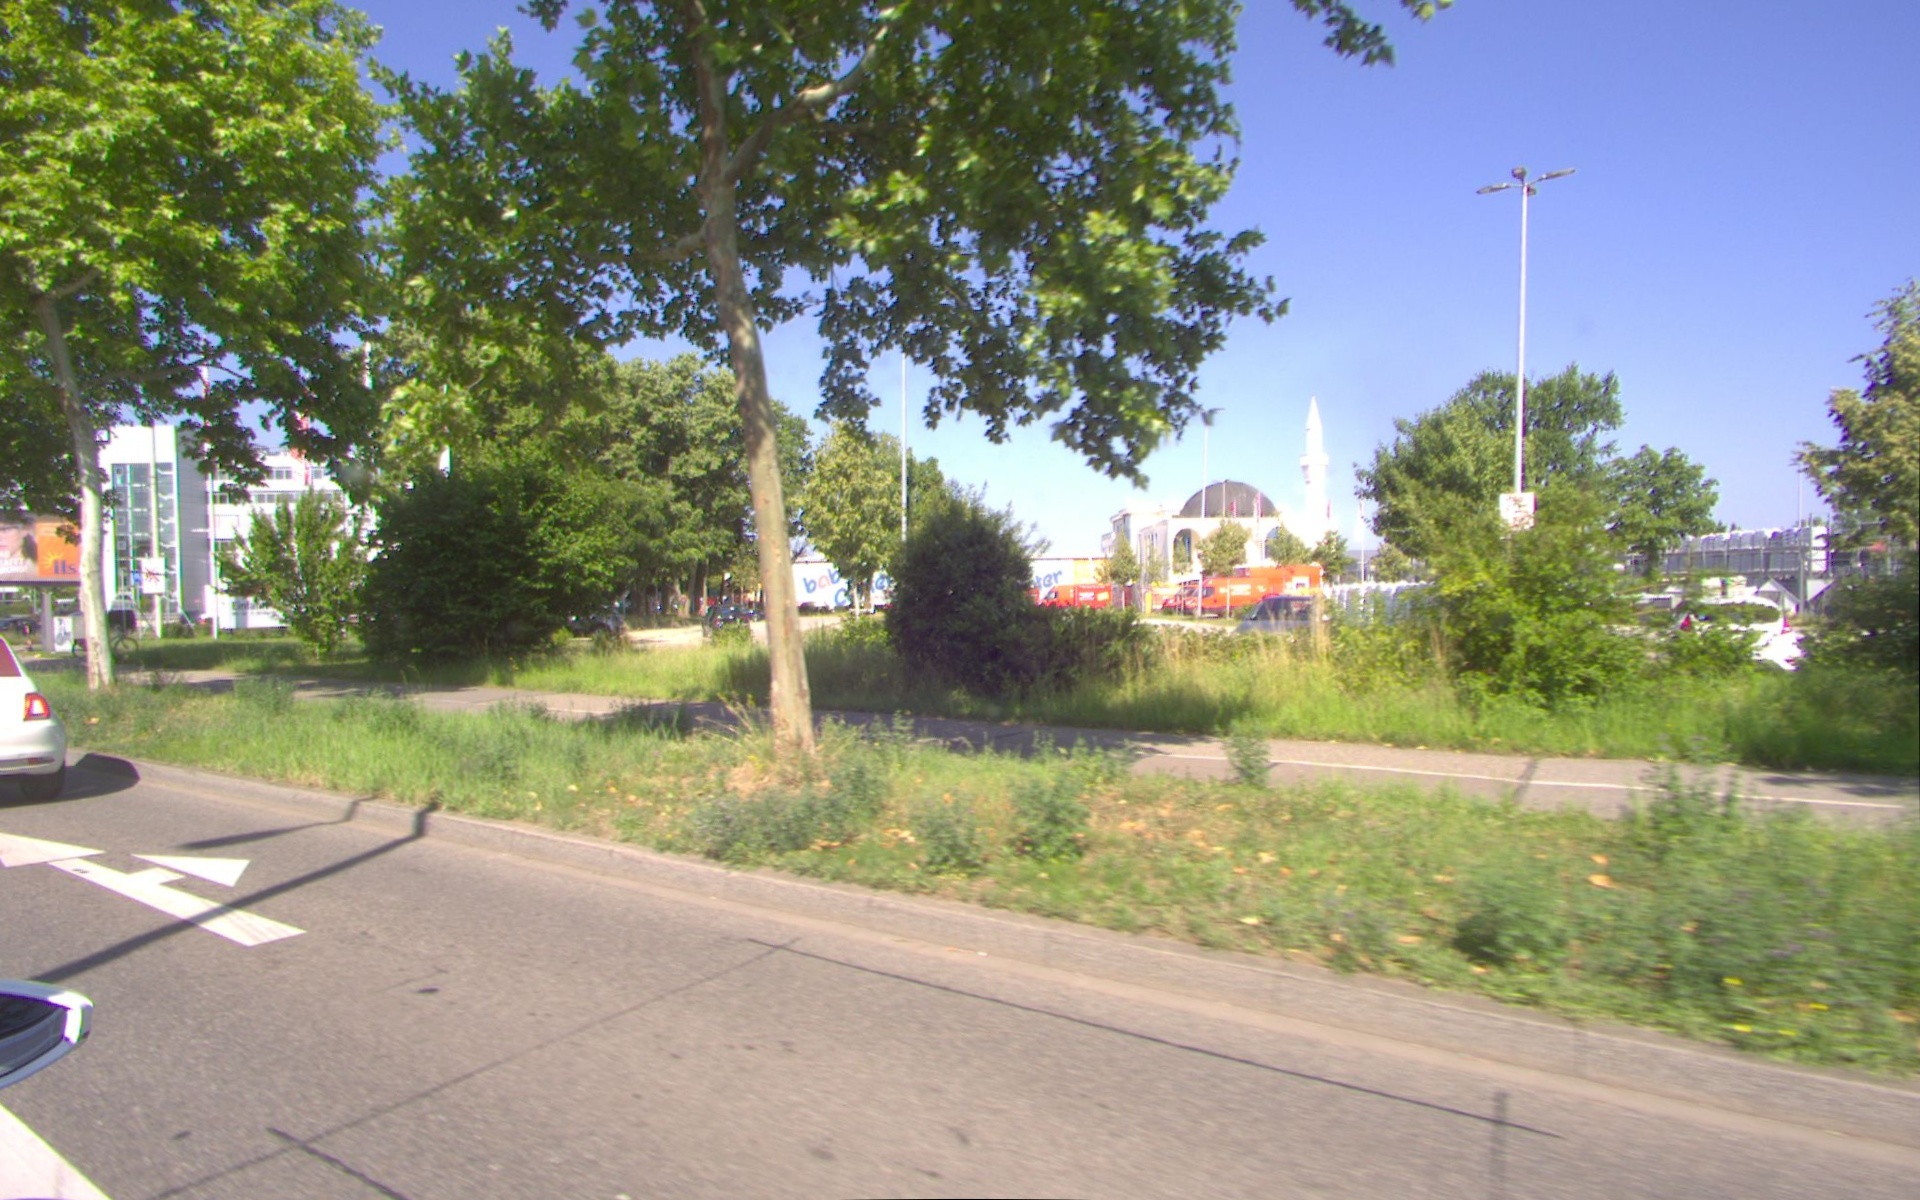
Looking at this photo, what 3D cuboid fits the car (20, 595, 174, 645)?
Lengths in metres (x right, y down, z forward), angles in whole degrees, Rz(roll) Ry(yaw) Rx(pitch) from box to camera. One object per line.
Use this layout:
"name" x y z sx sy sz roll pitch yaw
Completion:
"car" -31.125 0.739 36.204 1.701 1.683 3.973 -1 -2 37

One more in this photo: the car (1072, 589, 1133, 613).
"car" 11.758 0.120 82.707 4.824 1.906 1.770 0 -1 1

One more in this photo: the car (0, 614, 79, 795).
"car" -9.324 0.868 8.720 3.471 1.455 1.658 -1 -2 34

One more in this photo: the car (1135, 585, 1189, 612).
"car" 16.103 -0.129 79.790 3.922 2.039 2.001 0 -1 2

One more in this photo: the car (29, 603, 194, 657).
"car" -28.374 1.003 33.598 1.701 1.683 3.973 -1 -2 37

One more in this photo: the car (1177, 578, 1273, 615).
"car" 17.557 -0.203 66.619 5.822 2.371 2.115 0 -1 1

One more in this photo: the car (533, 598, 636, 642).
"car" -15.043 0.801 40.283 3.681 1.738 1.766 0 -1 -14

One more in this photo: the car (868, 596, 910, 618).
"car" -6.917 0.710 97.189 3.923 2.039 2.000 0 -1 -6

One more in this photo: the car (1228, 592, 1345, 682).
"car" 6.922 0.756 21.034 1.693 1.718 3.544 -1 -2 29

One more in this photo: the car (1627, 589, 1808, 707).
"car" 12.931 0.788 17.345 1.725 1.794 3.987 -1 -2 26

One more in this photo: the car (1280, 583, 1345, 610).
"car" 27.610 -0.271 78.517 4.304 2.039 2.000 0 -1 -3

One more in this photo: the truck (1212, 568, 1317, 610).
"truck" 25.100 -0.888 82.636 8.068 3.290 2.000 0 -1 -3

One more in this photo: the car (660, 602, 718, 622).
"car" -20.597 0.922 76.135 3.922 1.505 1.722 0 -1 0

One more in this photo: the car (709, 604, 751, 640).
"car" -10.245 0.974 44.691 1.743 1.534 3.722 0 -1 -12

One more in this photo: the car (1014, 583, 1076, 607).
"car" 7.519 -0.410 88.393 5.188 2.039 2.001 0 -2 -5
